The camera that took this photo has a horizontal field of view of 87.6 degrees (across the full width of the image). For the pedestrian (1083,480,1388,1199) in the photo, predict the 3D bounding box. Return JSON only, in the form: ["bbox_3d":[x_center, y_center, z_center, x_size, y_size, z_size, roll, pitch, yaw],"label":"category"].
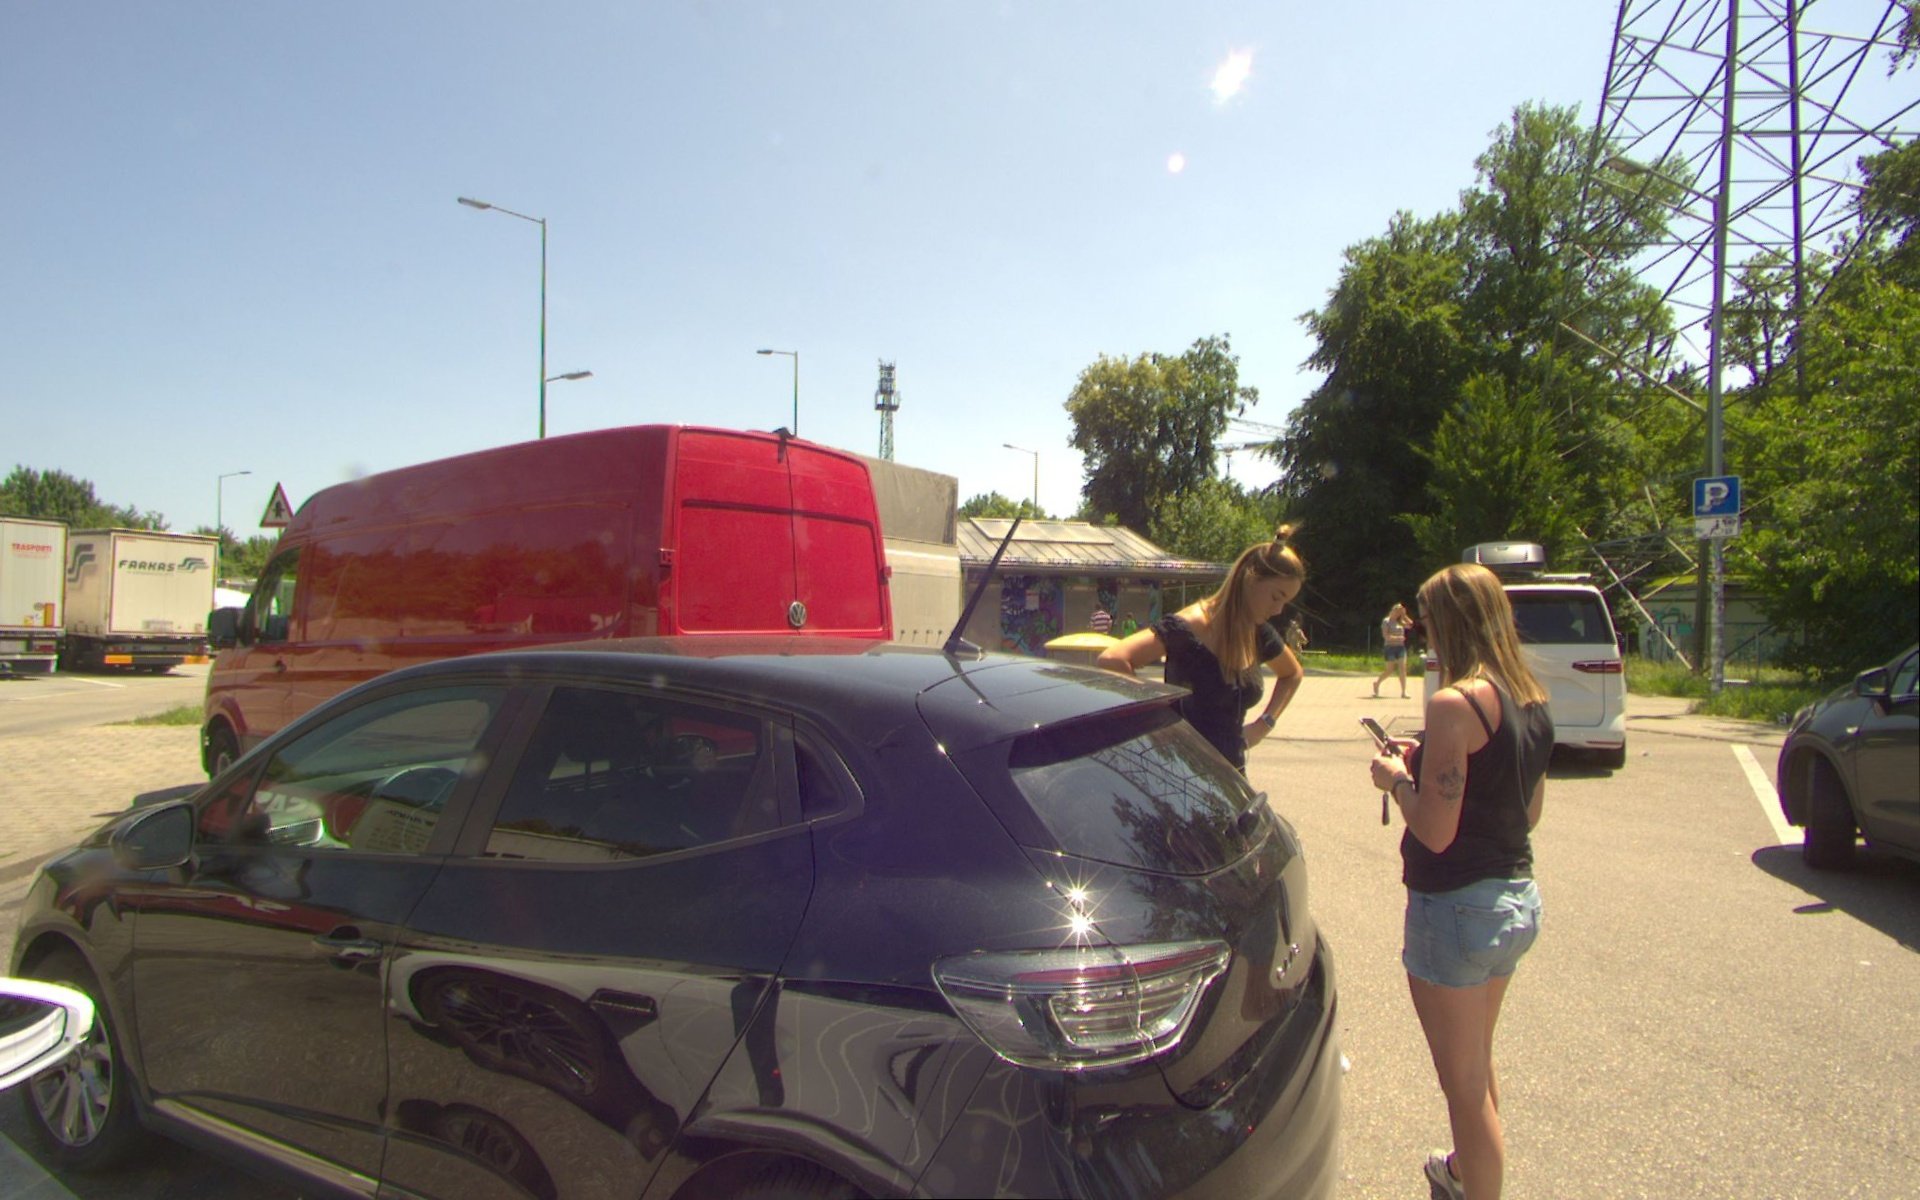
[{"bbox_3d":[0.869,0.642,3.090,0.903,1.884,0.483,1,-1,-42],"label":"pedestrian"}]

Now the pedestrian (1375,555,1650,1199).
[{"bbox_3d":[1.225,0.727,2.255,0.478,1.615,0.501,0,0,29],"label":"pedestrian"}]

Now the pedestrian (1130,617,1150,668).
[{"bbox_3d":[4.859,1.147,27.080,0.439,1.362,0.477,0,0,23],"label":"pedestrian"}]

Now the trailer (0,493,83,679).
[{"bbox_3d":[-28.549,-0.346,27.841,12.642,4.510,2.677,0,-1,32],"label":"trailer"}]

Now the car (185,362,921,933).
[{"bbox_3d":[-3.374,0.248,7.352,6.298,2.668,1.988,0,-1,36],"label":"car"}]

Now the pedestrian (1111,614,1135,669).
[{"bbox_3d":[4.462,1.117,27.379,0.521,1.478,0.576,0,0,23],"label":"pedestrian"}]

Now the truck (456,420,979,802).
[{"bbox_3d":[-2.470,0.169,9.906,4.751,2.863,2.514,-1,-2,34],"label":"truck"}]

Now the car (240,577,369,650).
[{"bbox_3d":[-29.462,0.597,44.946,6.259,3.114,2.495,0,-1,32],"label":"car"}]

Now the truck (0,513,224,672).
[{"bbox_3d":[-27.065,-0.030,31.182,11.800,4.279,2.582,-1,-2,32],"label":"truck"}]

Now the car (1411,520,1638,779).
[{"bbox_3d":[6.660,0.521,11.926,1.901,2.401,4.954,1,-1,29],"label":"car"}]

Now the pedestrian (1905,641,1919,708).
[{"bbox_3d":[17.115,1.298,17.444,0.694,1.178,0.787,-1,-1,22],"label":"pedestrian"}]

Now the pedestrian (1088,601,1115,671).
[{"bbox_3d":[3.643,0.914,25.732,0.520,1.783,0.651,0,0,23],"label":"pedestrian"}]

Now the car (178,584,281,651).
[{"bbox_3d":[-29.933,0.751,41.029,3.943,2.632,2.111,-1,-2,32],"label":"car"}]

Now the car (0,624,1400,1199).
[{"bbox_3d":[-0.805,0.829,2.798,3.628,1.476,1.776,-1,-2,27],"label":"car"}]

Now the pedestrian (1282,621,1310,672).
[{"bbox_3d":[13.358,1.846,39.829,0.955,2.039,0.829,0,-1,10],"label":"pedestrian"}]

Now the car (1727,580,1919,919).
[{"bbox_3d":[5.464,0.723,4.428,1.805,1.638,4.164,1,-1,15],"label":"car"}]

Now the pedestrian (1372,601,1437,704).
[{"bbox_3d":[8.371,0.983,18.880,0.762,1.903,0.840,0,-1,-11],"label":"pedestrian"}]
